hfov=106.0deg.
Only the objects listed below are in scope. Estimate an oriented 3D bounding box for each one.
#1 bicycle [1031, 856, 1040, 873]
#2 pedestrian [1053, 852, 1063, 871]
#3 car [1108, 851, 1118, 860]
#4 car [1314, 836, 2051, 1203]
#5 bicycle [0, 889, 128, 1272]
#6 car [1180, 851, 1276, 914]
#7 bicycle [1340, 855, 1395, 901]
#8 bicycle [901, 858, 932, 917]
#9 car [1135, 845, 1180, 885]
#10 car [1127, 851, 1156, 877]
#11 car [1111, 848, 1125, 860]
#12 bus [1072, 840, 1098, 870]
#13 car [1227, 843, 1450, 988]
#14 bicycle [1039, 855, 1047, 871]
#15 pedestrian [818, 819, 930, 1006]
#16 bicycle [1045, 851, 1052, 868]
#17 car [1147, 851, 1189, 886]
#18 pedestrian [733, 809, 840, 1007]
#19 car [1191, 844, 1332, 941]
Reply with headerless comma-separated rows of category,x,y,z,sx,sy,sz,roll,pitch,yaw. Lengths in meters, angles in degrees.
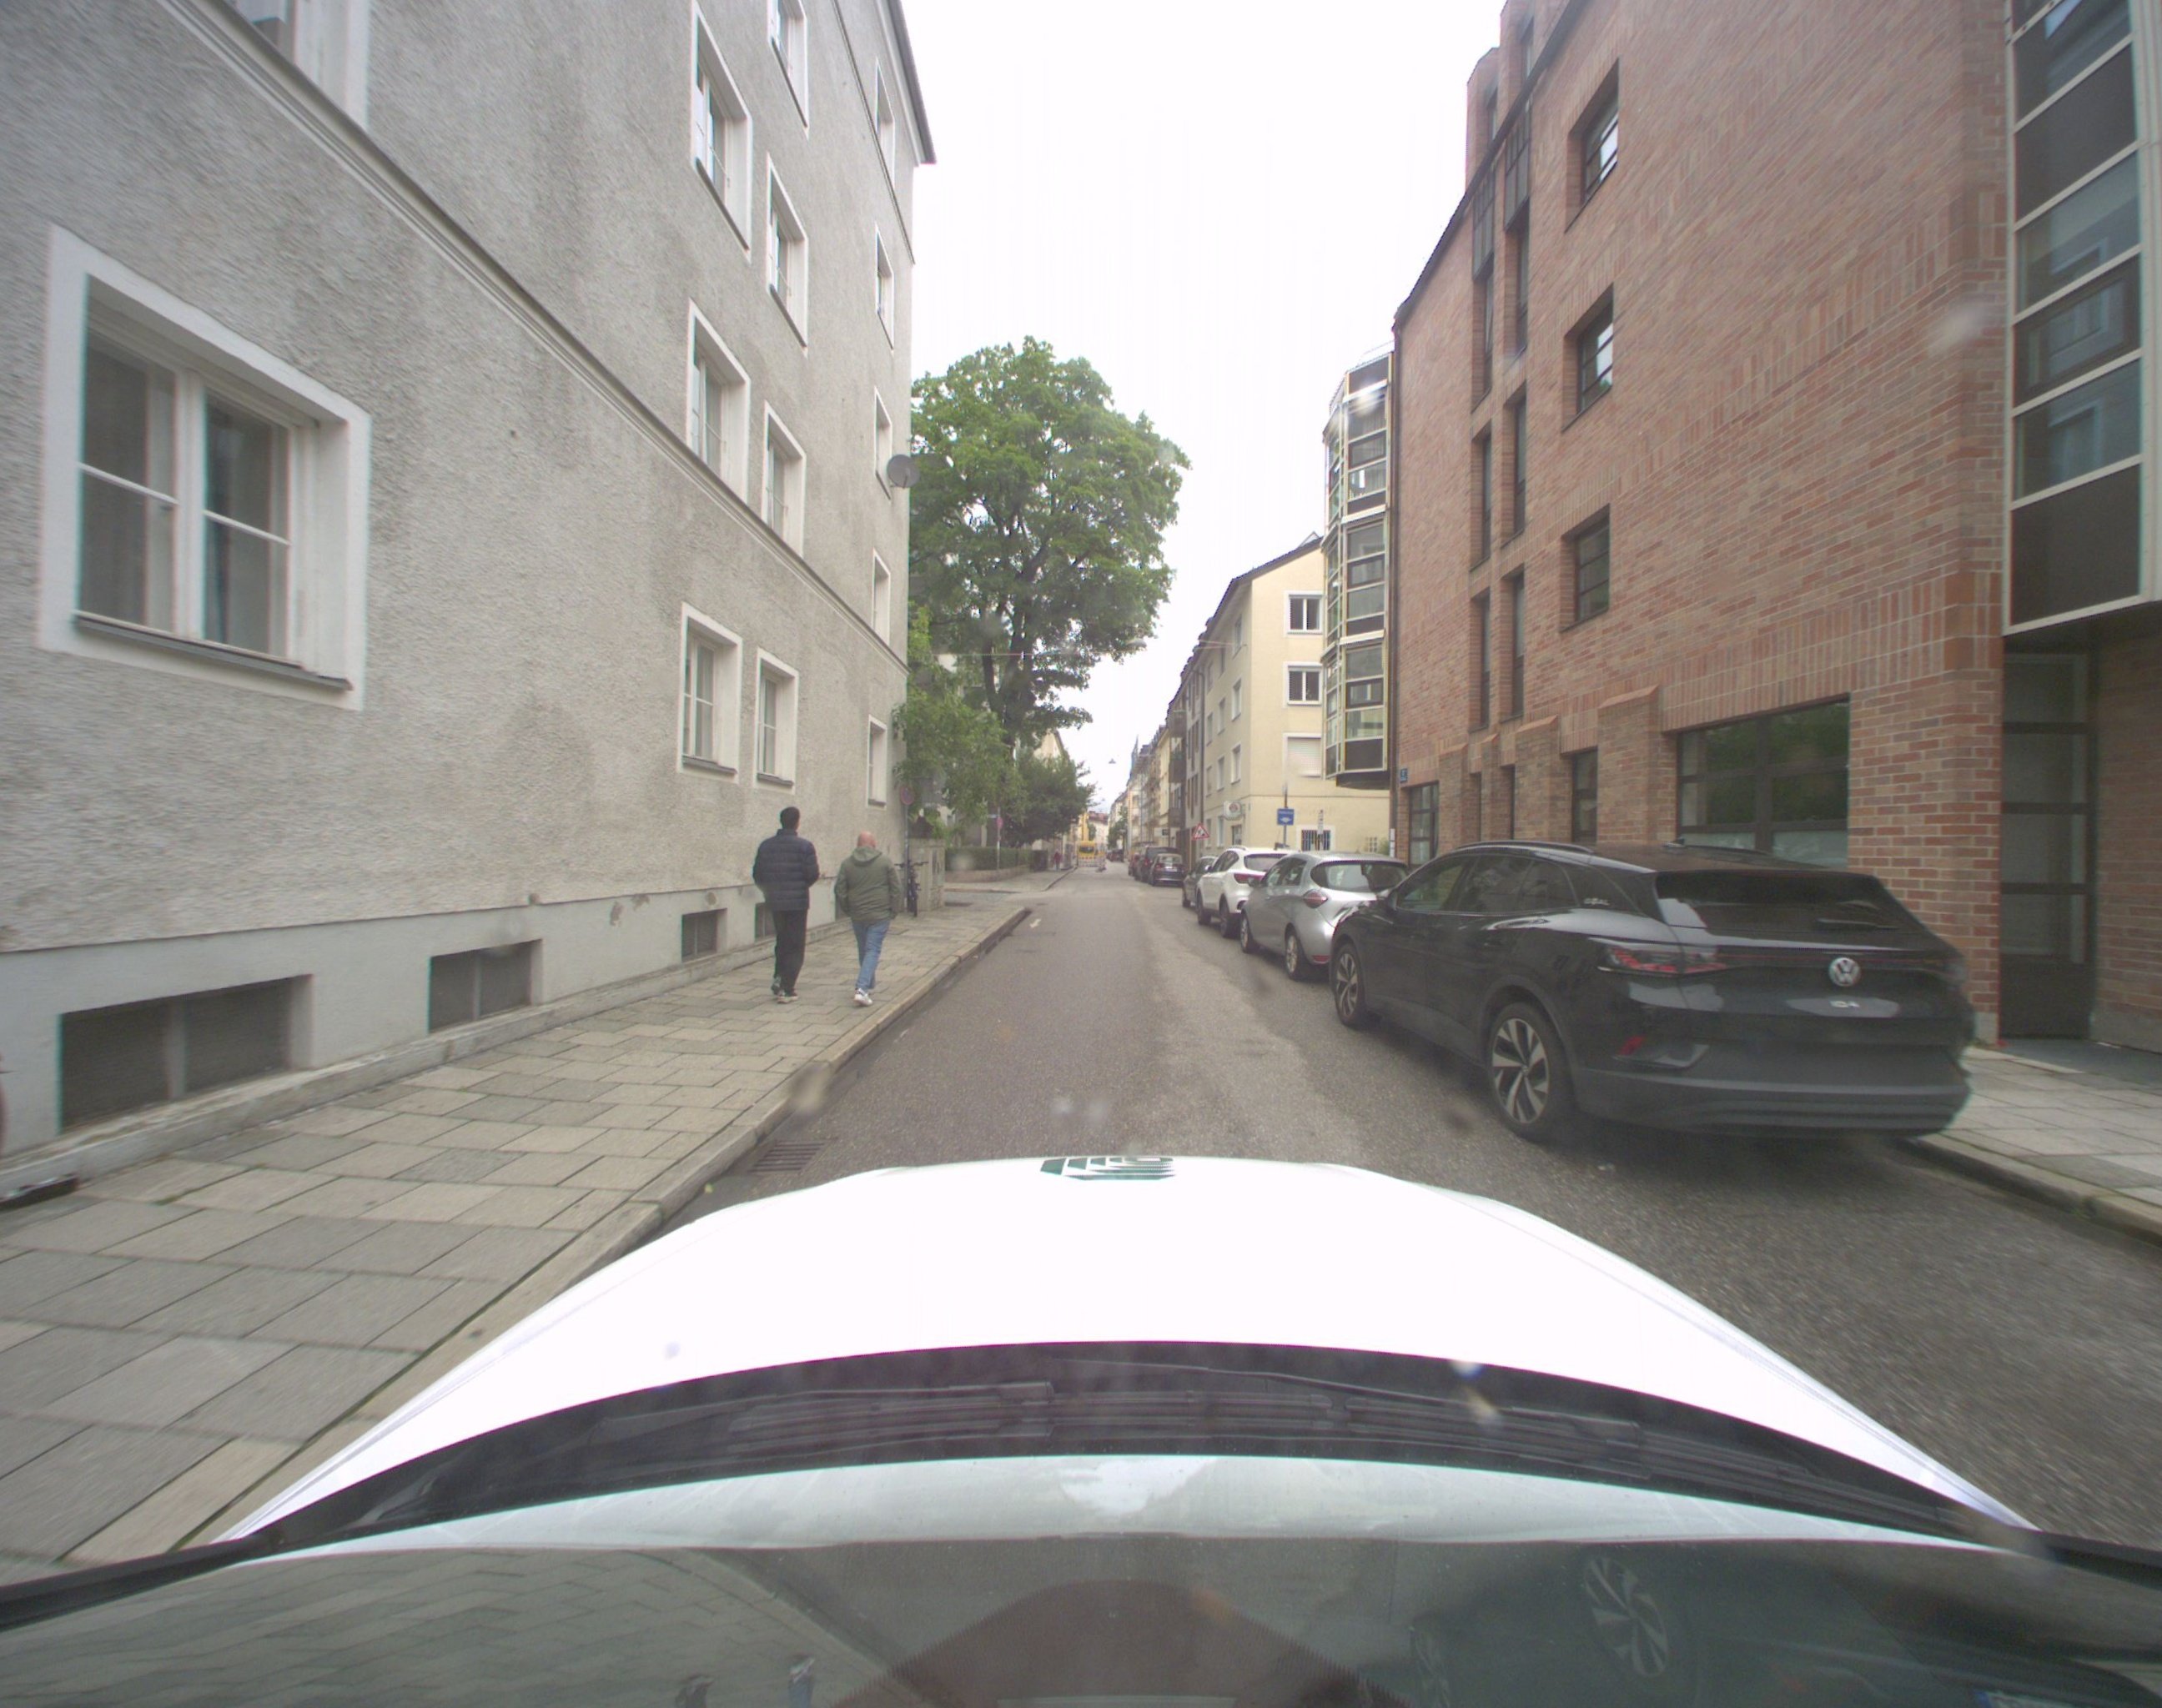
bicycle,-2.830,0.635,50.492,0.413,1.020,1.854,0,0,1
pedestrian,-1.786,0.560,63.843,0.753,1.491,0.831,0,-1,1
car,5.837,0.199,148.287,1.794,1.614,4.001,1,0,1
car,3.237,0.713,5.709,1.880,1.555,4.389,1,0,-1
bicycle,-3.687,0.736,2.210,0.643,1.217,1.655,0,0,-18
car,3.679,0.662,21.001,1.739,1.445,3.999,1,0,0
bicycle,7.675,0.628,21.858,0.380,1.159,1.539,1,0,-27
bicycle,-3.370,0.656,16.609,0.474,1.111,1.750,1,0,-16
car,3.920,0.523,42.196,1.796,1.820,3.998,4,0,-1
car,3.996,0.651,54.080,1.630,1.514,3.829,4,0,1
car,5.427,0.007,119.925,1.796,1.712,3.825,4,0,-1
bus,0.487,0.120,87.875,2.583,3.102,6.307,0,0,1
car,3.274,0.707,11.173,1.716,1.635,3.878,0,0,-2
bicycle,-2.640,0.639,56.028,0.445,1.073,2.467,0,0,0
pedestrian,-1.960,0.532,7.844,0.750,1.659,0.906,3,-1,1
bicycle,-2.738,0.439,68.837,0.512,1.418,1.934,0,0,1
car,3.997,0.629,37.834,1.619,1.487,3.809,1,0,1
pedestrian,-2.719,0.478,7.596,0.610,1.713,0.823,3,-1,0
car,3.327,0.641,15.850,1.743,1.630,4.194,0,0,-1
